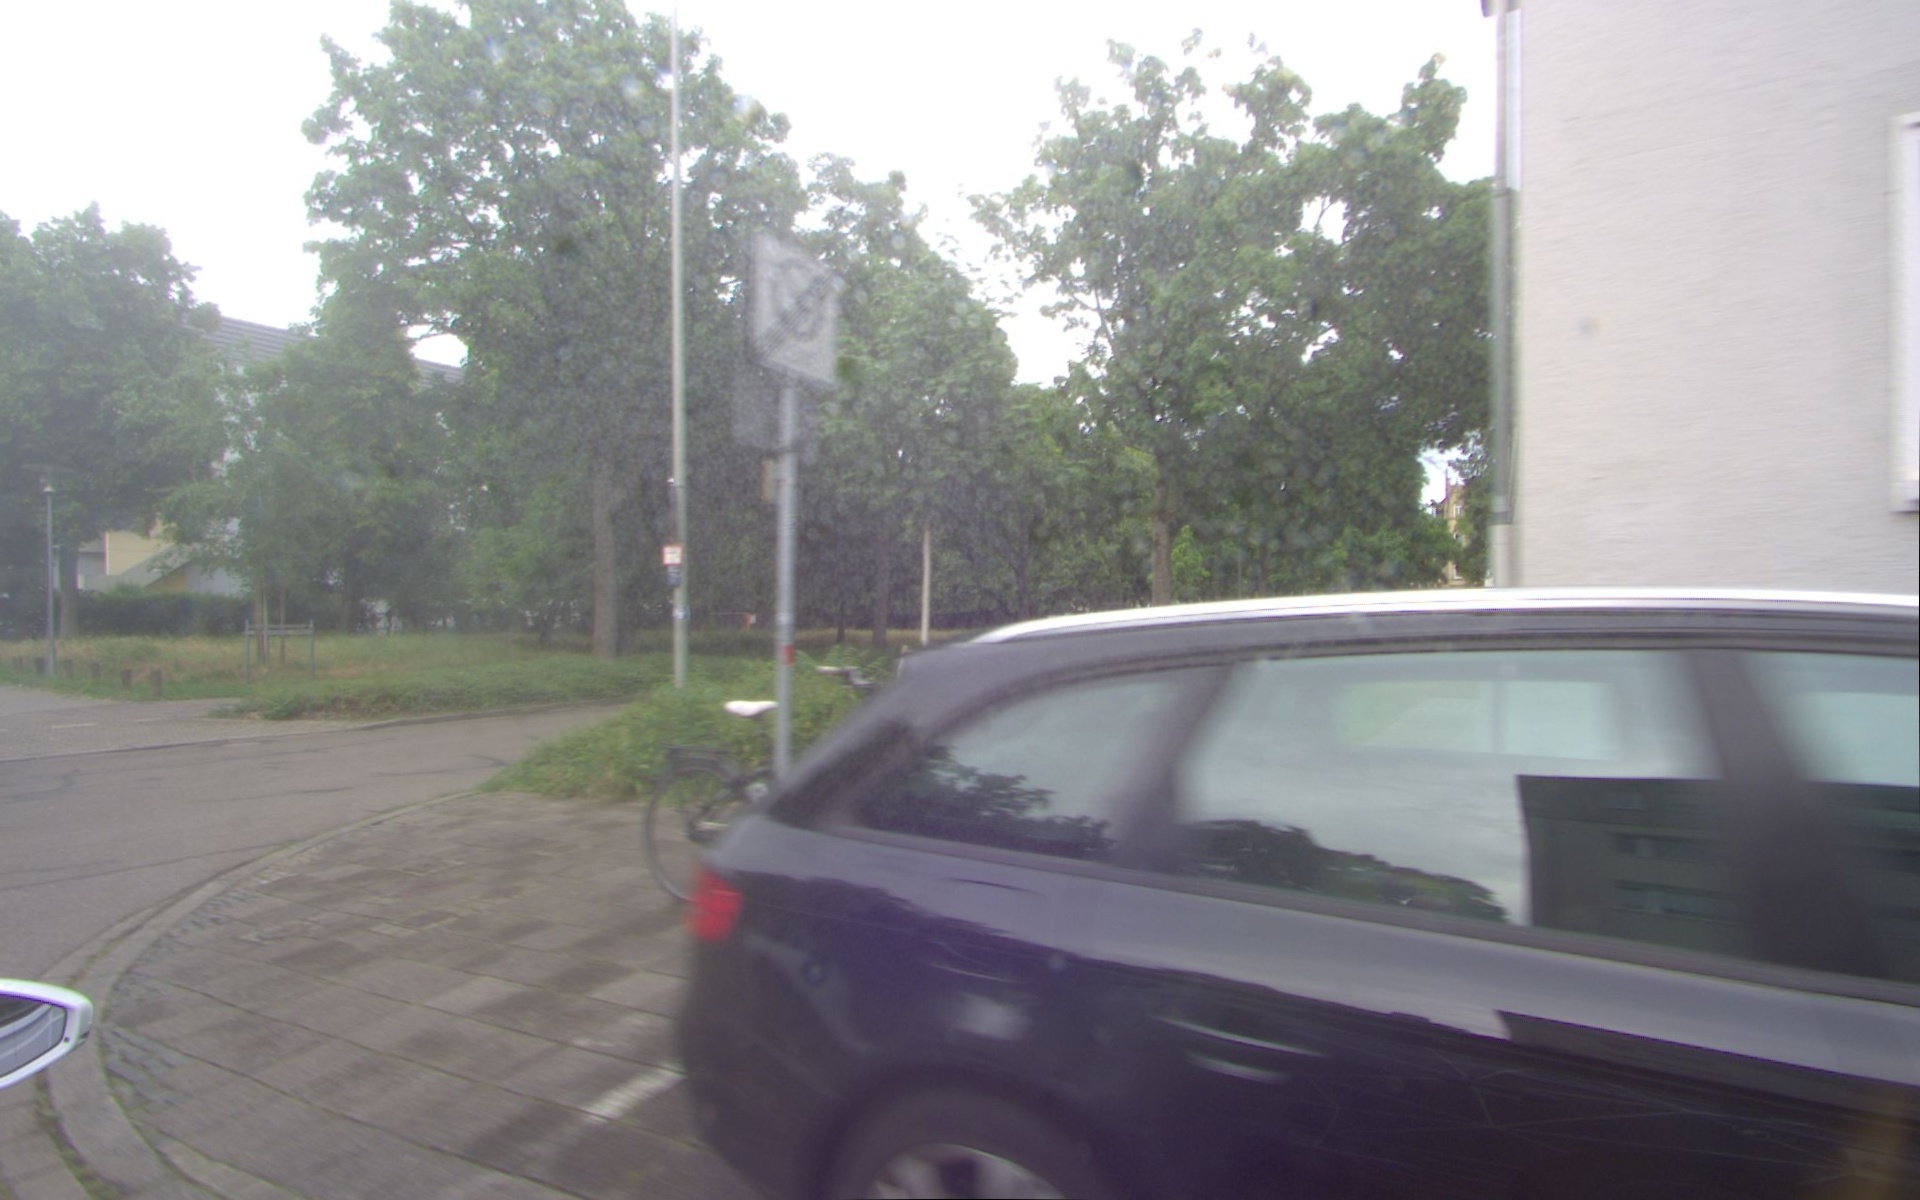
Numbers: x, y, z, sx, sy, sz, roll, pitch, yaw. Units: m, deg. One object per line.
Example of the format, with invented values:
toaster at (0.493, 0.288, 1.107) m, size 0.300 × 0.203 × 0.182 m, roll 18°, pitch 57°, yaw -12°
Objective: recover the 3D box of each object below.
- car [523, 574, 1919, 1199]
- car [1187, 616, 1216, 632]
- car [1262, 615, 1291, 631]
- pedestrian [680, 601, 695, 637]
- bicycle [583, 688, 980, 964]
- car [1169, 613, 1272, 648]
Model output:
car at (1.648, 0.711, 1.564) m, size 4.654 × 1.482 × 1.858 m, roll -1°, pitch 0°, yaw 30°
car at (29.699, 2.988, 123.322) m, size 3.257 × 1.949 × 1.808 m, roll -1°, pitch -2°, yaw 21°
car at (37.888, 2.755, 119.807) m, size 3.257 × 1.949 × 1.808 m, roll -1°, pitch -2°, yaw 21°
pedestrian at (-13.821, 0.967, 50.775) m, size 0.537 × 1.822 × 0.568 m, roll 1°, pitch 0°, yaw 41°
bicycle at (-0.872, 0.945, 4.632) m, size 1.862 × 1.017 × 0.566 m, roll -3°, pitch 0°, yaw 31°
car at (12.814, 1.478, 49.310) m, size 4.455 × 1.506 × 1.998 m, roll -2°, pitch 0°, yaw -12°
